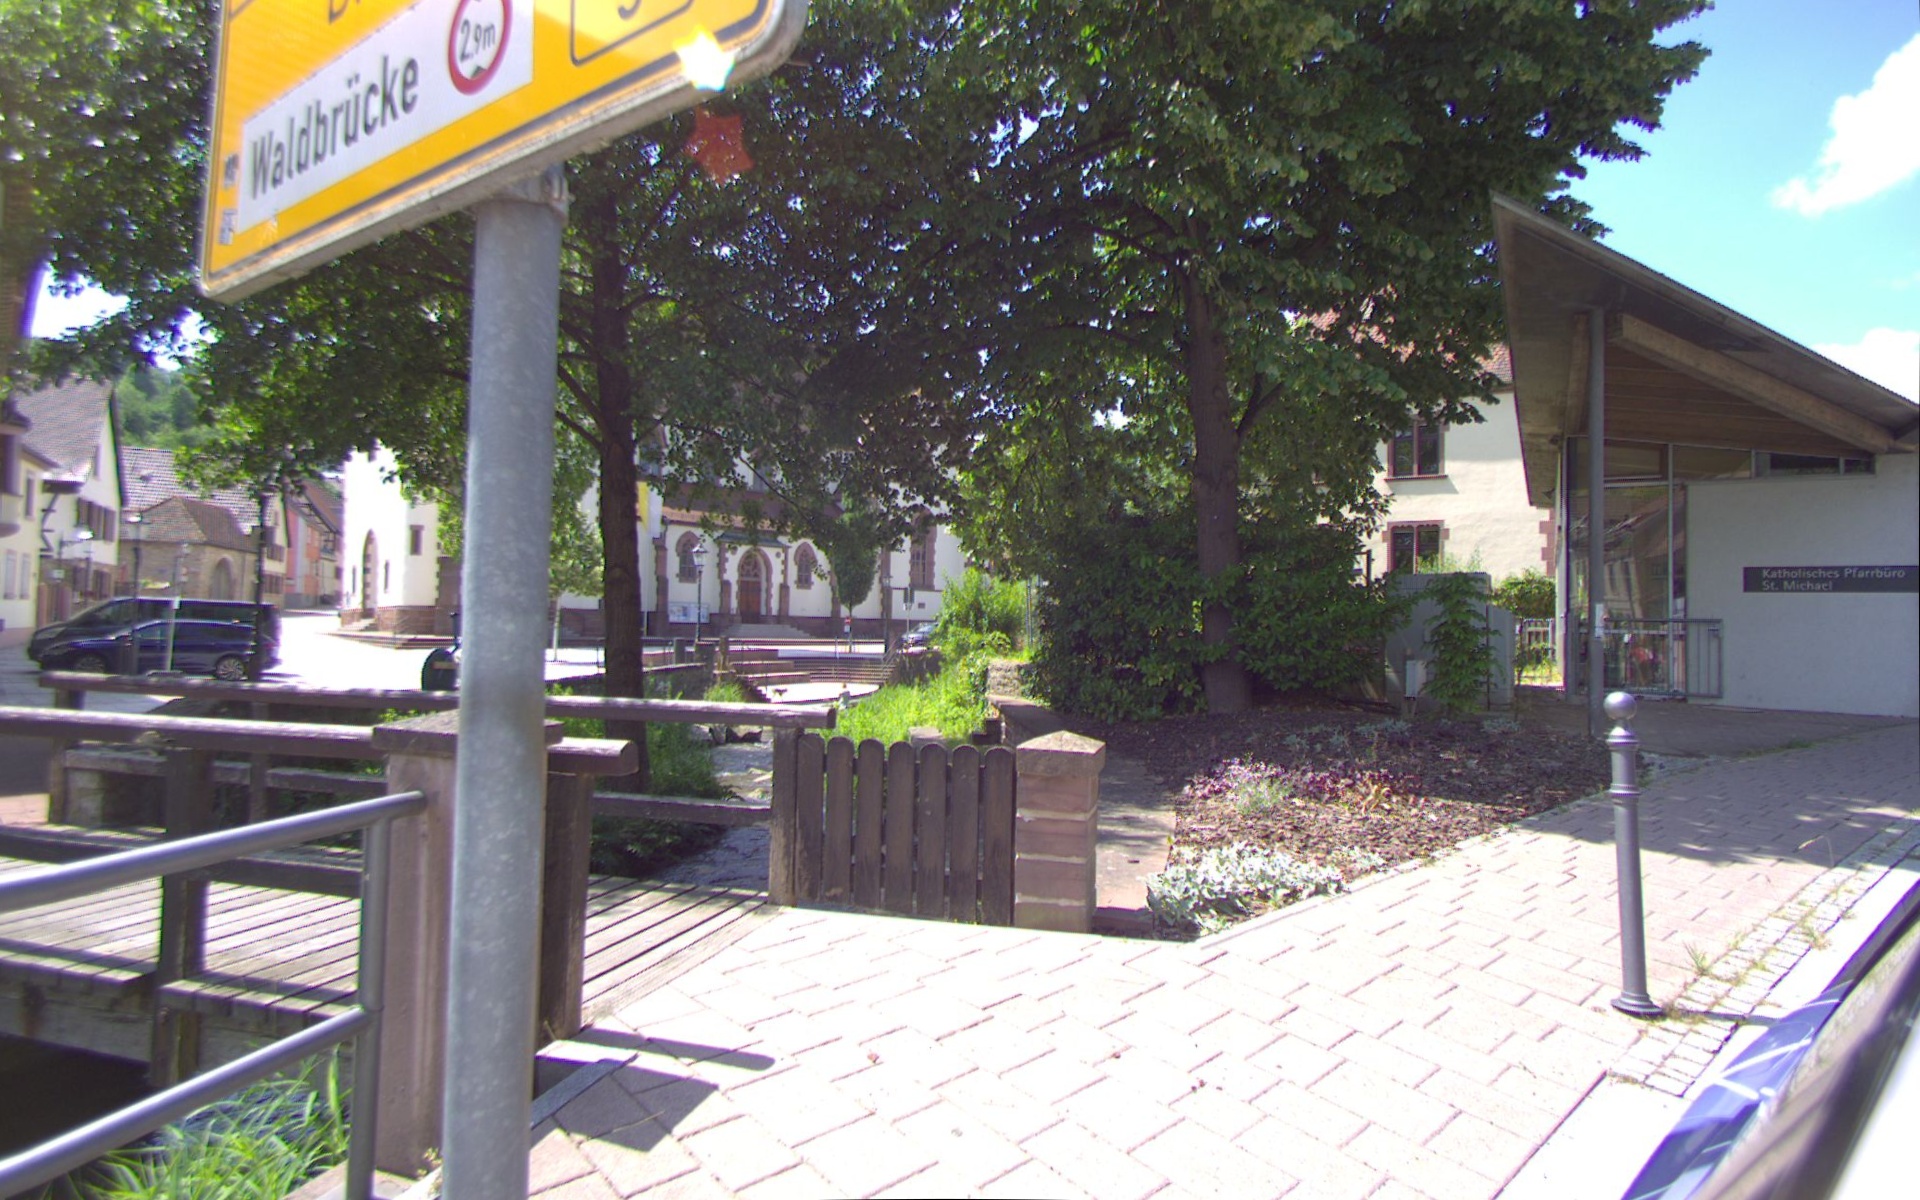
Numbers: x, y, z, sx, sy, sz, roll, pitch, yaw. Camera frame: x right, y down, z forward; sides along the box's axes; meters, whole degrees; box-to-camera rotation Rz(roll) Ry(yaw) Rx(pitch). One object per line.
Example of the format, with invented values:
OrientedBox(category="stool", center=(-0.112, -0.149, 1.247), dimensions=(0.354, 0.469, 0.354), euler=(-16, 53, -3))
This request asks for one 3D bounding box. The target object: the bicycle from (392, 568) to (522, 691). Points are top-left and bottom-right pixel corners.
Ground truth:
OrientedBox(category="bicycle", center=(-9.075, 0.527, 18.432), dimensions=(0.769, 2.040, 2.661), euler=(-3, -2, 6))

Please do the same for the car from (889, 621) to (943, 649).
OrientedBox(category="car", center=(-2.429, 1.943, 56.769), dimensions=(1.651, 1.524, 3.782), euler=(-1, -1, 22))

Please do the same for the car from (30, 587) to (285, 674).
OrientedBox(category="car", center=(-21.116, 0.853, 26.804), dimensions=(5.037, 2.053, 1.954), euler=(5, -3, -44))

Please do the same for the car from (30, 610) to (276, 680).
OrientedBox(category="car", center=(-19.450, 1.127, 24.534), dimensions=(4.464, 1.501, 1.585), euler=(5, -3, -44))
